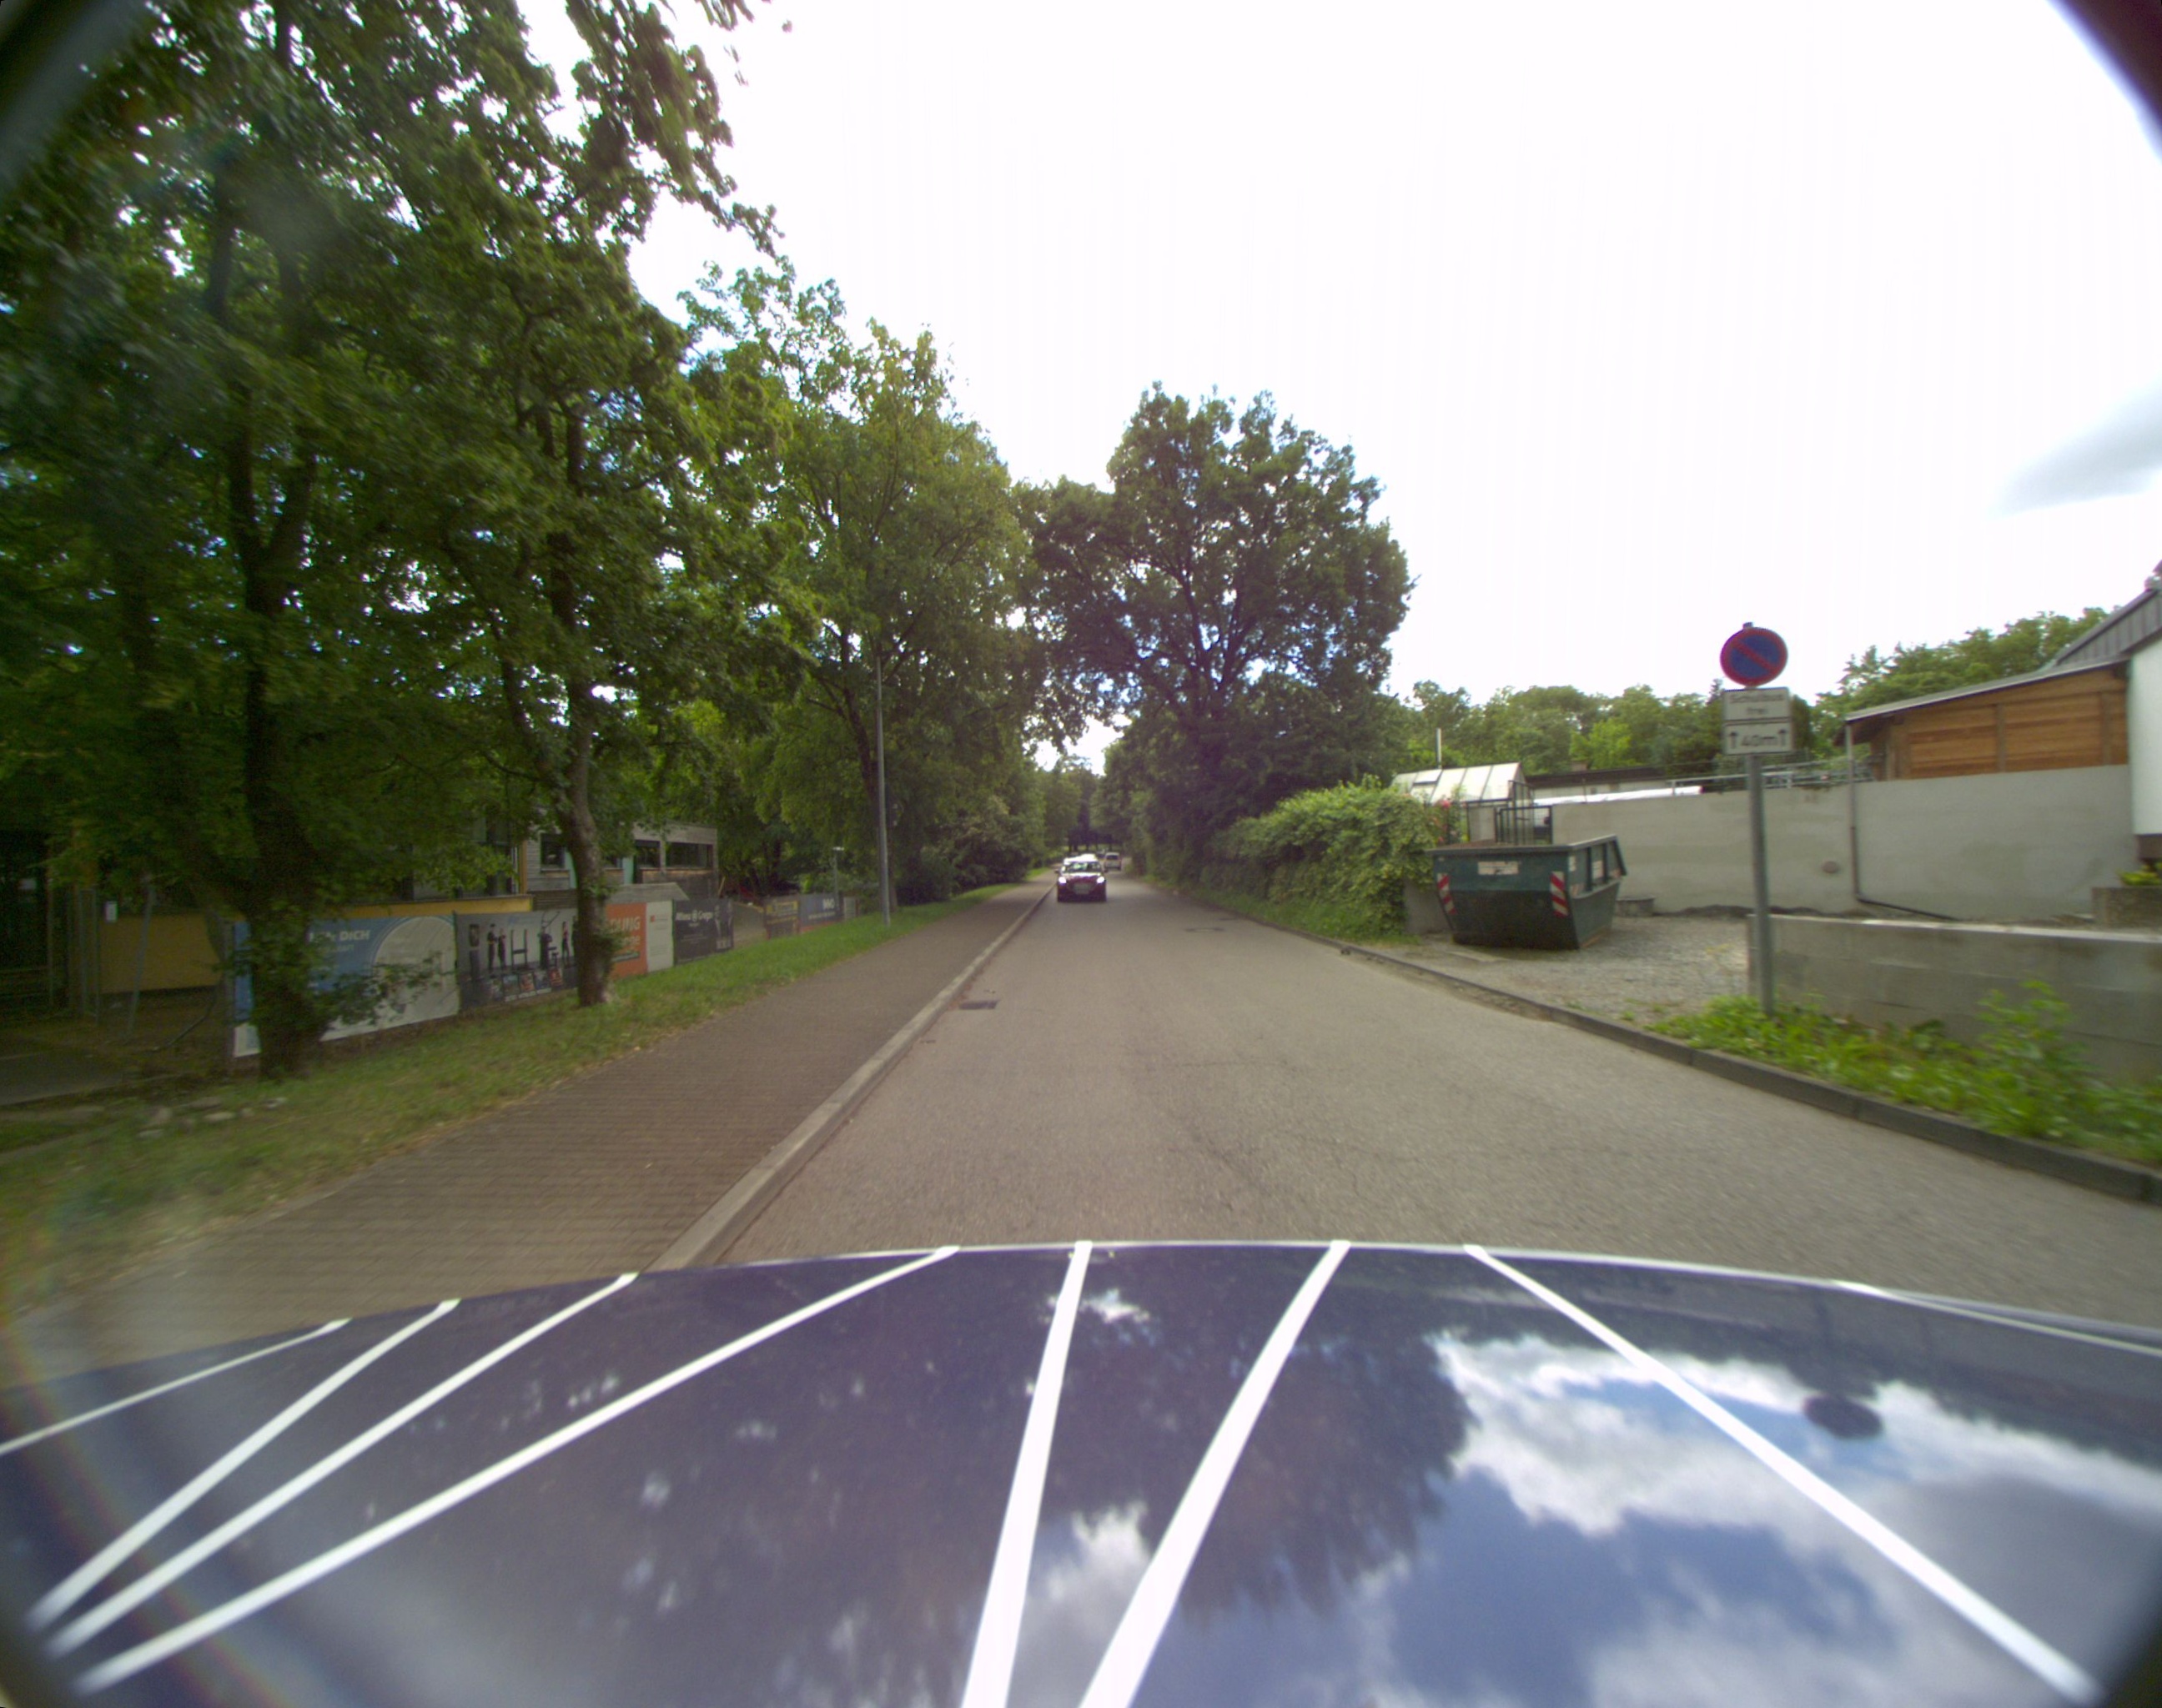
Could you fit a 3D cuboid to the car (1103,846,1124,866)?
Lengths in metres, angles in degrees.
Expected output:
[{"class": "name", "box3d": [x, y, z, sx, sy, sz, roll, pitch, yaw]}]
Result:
[{"class": "car", "box3d": [3.302, 0.157, 78.024, 1.878, 1.903, 4.430, -1, 1, -1]}]

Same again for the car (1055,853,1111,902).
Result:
[{"class": "car", "box3d": [0.136, 0.864, 29.848, 1.816, 1.718, 4.001, 1, 1, 5]}]

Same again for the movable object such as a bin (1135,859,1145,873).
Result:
[{"class": "movable object such as a bin", "box3d": [4.449, 0.905, 57.070, 0.649, 1.007, 0.632, 0, 2, 16]}]

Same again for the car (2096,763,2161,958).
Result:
[{"class": "car", "box3d": [12.123, -0.062, 5.765, 4.916, 1.794, 2.034, -4, -1, 41]}]

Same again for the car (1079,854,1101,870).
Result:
[{"class": "car", "box3d": [0.997, 0.807, 80.187, 1.998, 1.521, 4.001, 0, 1, 5]}]
